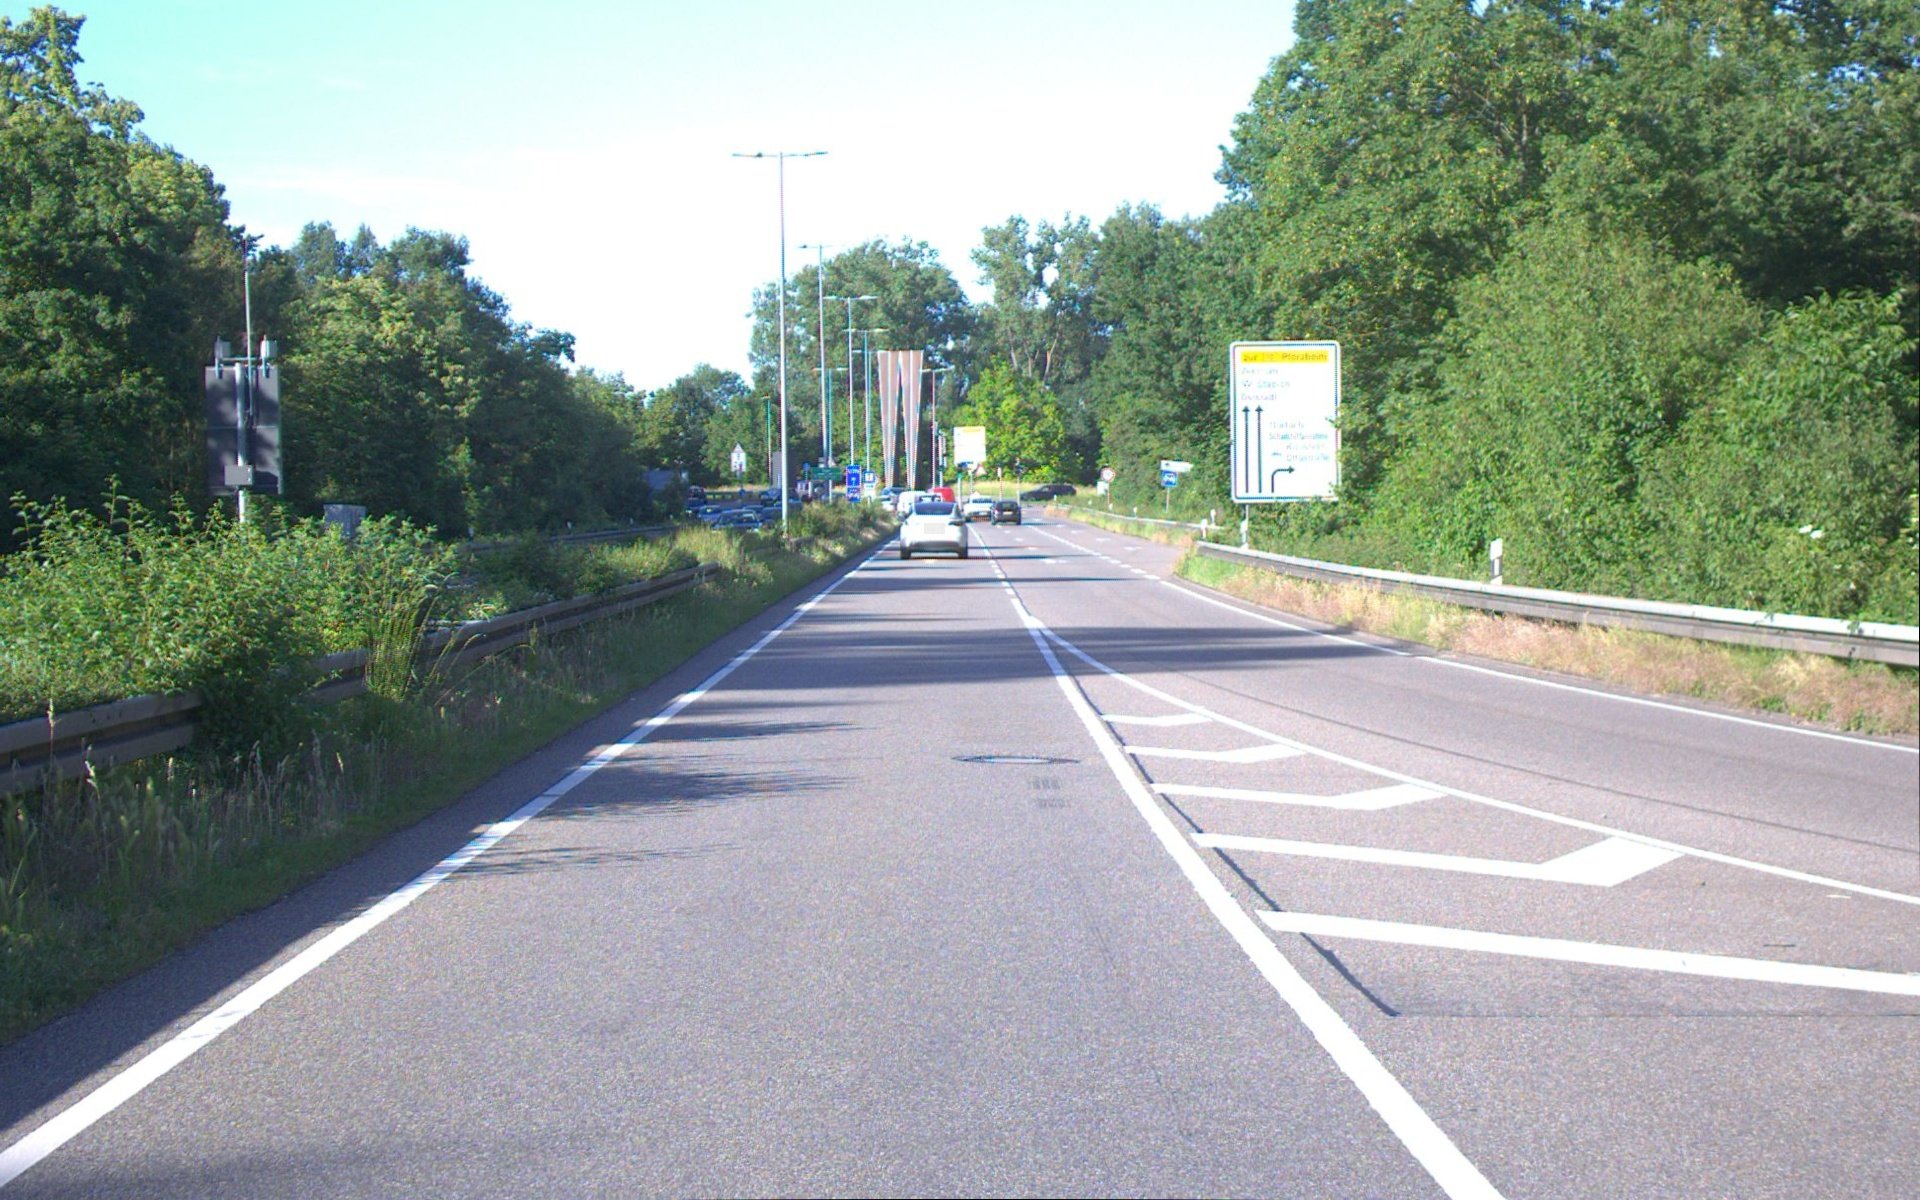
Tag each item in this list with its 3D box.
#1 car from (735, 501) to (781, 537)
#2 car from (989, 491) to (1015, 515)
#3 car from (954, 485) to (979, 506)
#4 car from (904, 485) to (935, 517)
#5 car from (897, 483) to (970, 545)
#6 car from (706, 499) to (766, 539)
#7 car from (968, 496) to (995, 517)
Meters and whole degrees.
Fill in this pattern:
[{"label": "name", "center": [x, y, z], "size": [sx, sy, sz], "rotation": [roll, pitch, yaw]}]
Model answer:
[{"label": "car", "center": [-8.903, -3.585, 151.805], "size": [1.618, 1.525, 4.609], "rotation": [-1, 2, 2]}, {"label": "car", "center": [2.425, -5.604, 198.393], "size": [1.388, 1.276, 2.987], "rotation": [2, 1, 0]}, {"label": "car", "center": [0.454, -7.243, 238.821], "size": [1.624, 1.385, 2.987], "rotation": [2, 1, 0]}, {"label": "car", "center": [-2.678, -6.516, 226.384], "size": [1.993, 2.007, 4.000], "rotation": [1, 1, -1]}, {"label": "car", "center": [-0.786, -2.479, 98.236], "size": [1.993, 1.634, 4.129], "rotation": [-1, 3, -1]}, {"label": "car", "center": [-8.229, -2.990, 126.647], "size": [1.781, 1.398, 4.553], "rotation": [-1, 2, 2]}, {"label": "car", "center": [1.378, -5.884, 216.758], "size": [1.624, 1.276, 2.987], "rotation": [2, 1, 0]}]
